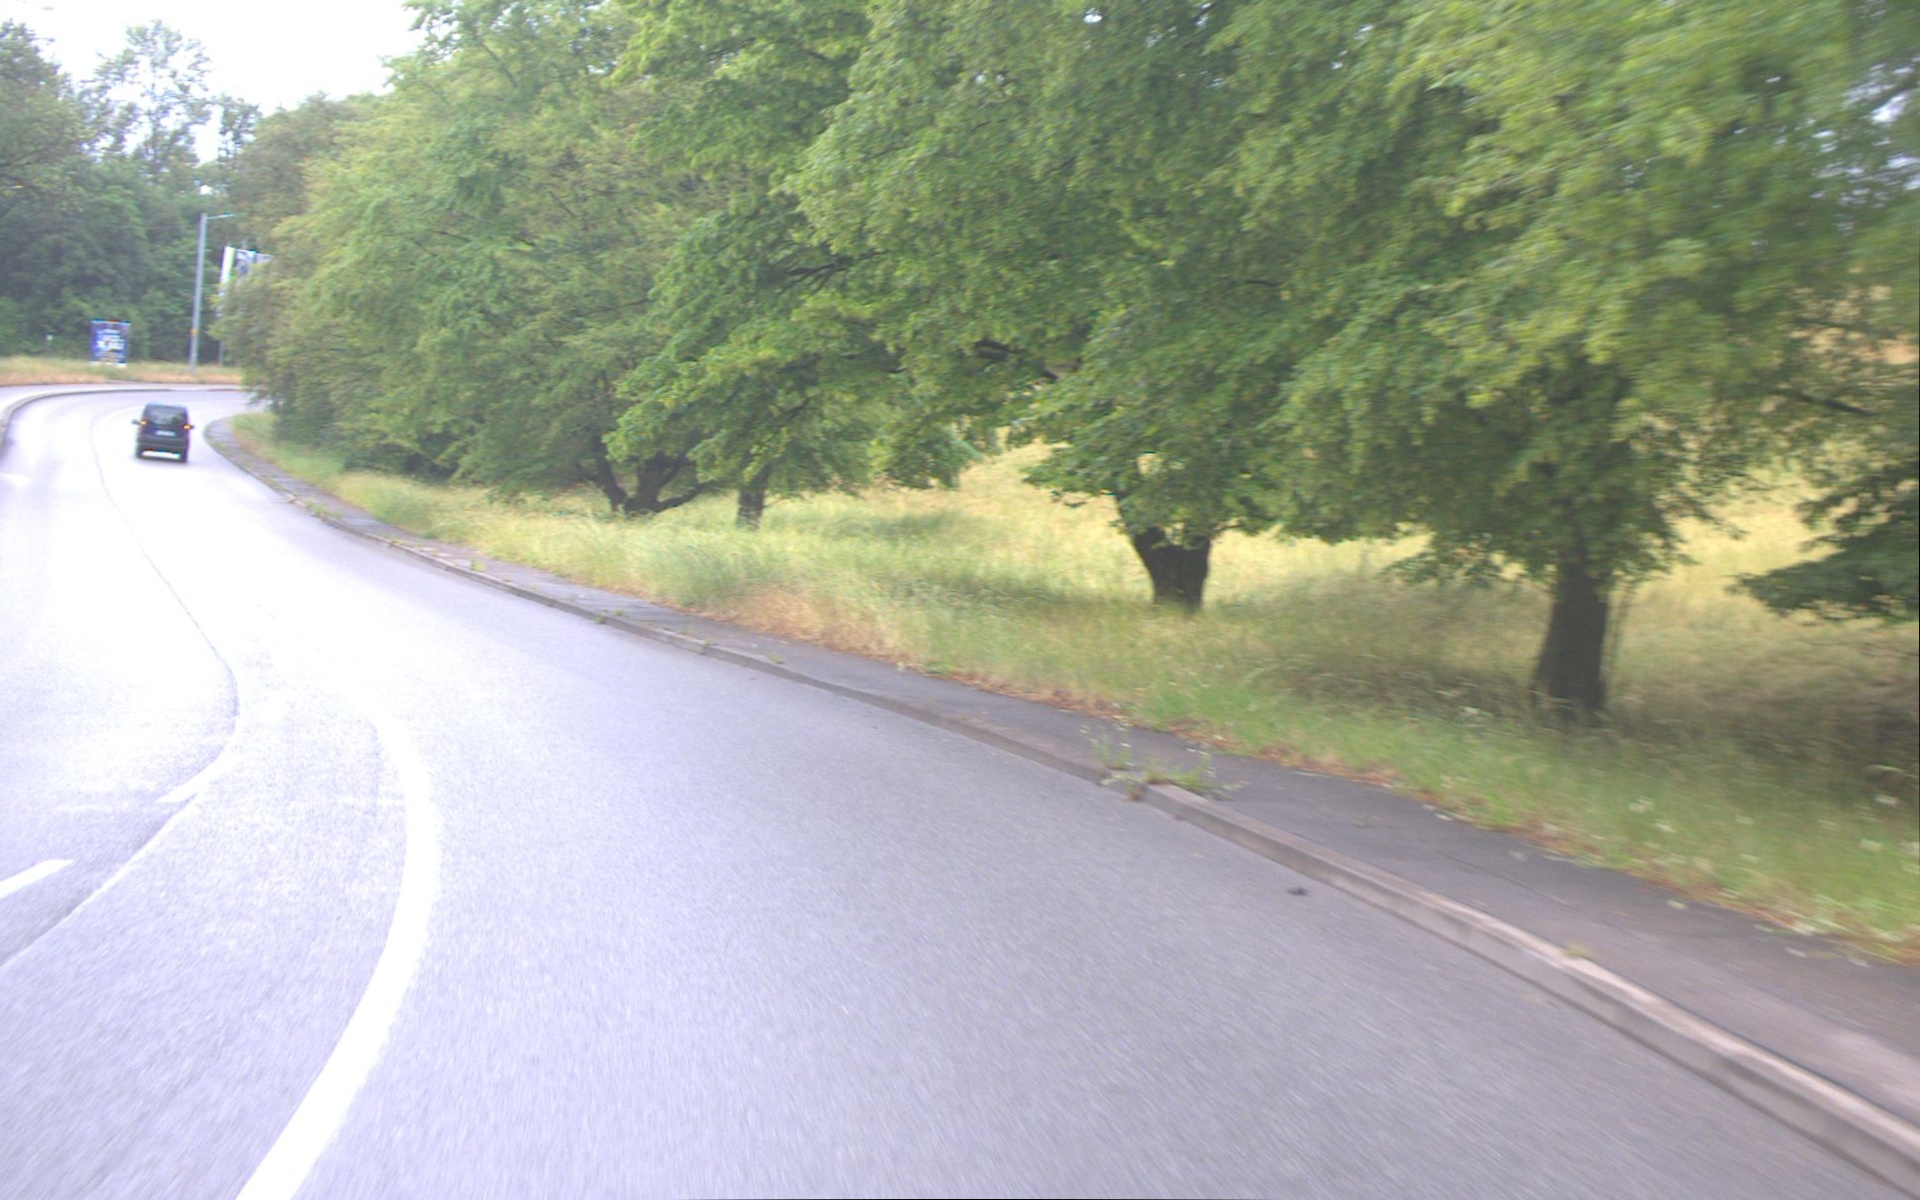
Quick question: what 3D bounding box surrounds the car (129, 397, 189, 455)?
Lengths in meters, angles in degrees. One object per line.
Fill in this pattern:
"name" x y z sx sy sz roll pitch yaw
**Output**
"car" -26.123 -5.675 112.086 1.741 1.711 4.002 4 2 -14
